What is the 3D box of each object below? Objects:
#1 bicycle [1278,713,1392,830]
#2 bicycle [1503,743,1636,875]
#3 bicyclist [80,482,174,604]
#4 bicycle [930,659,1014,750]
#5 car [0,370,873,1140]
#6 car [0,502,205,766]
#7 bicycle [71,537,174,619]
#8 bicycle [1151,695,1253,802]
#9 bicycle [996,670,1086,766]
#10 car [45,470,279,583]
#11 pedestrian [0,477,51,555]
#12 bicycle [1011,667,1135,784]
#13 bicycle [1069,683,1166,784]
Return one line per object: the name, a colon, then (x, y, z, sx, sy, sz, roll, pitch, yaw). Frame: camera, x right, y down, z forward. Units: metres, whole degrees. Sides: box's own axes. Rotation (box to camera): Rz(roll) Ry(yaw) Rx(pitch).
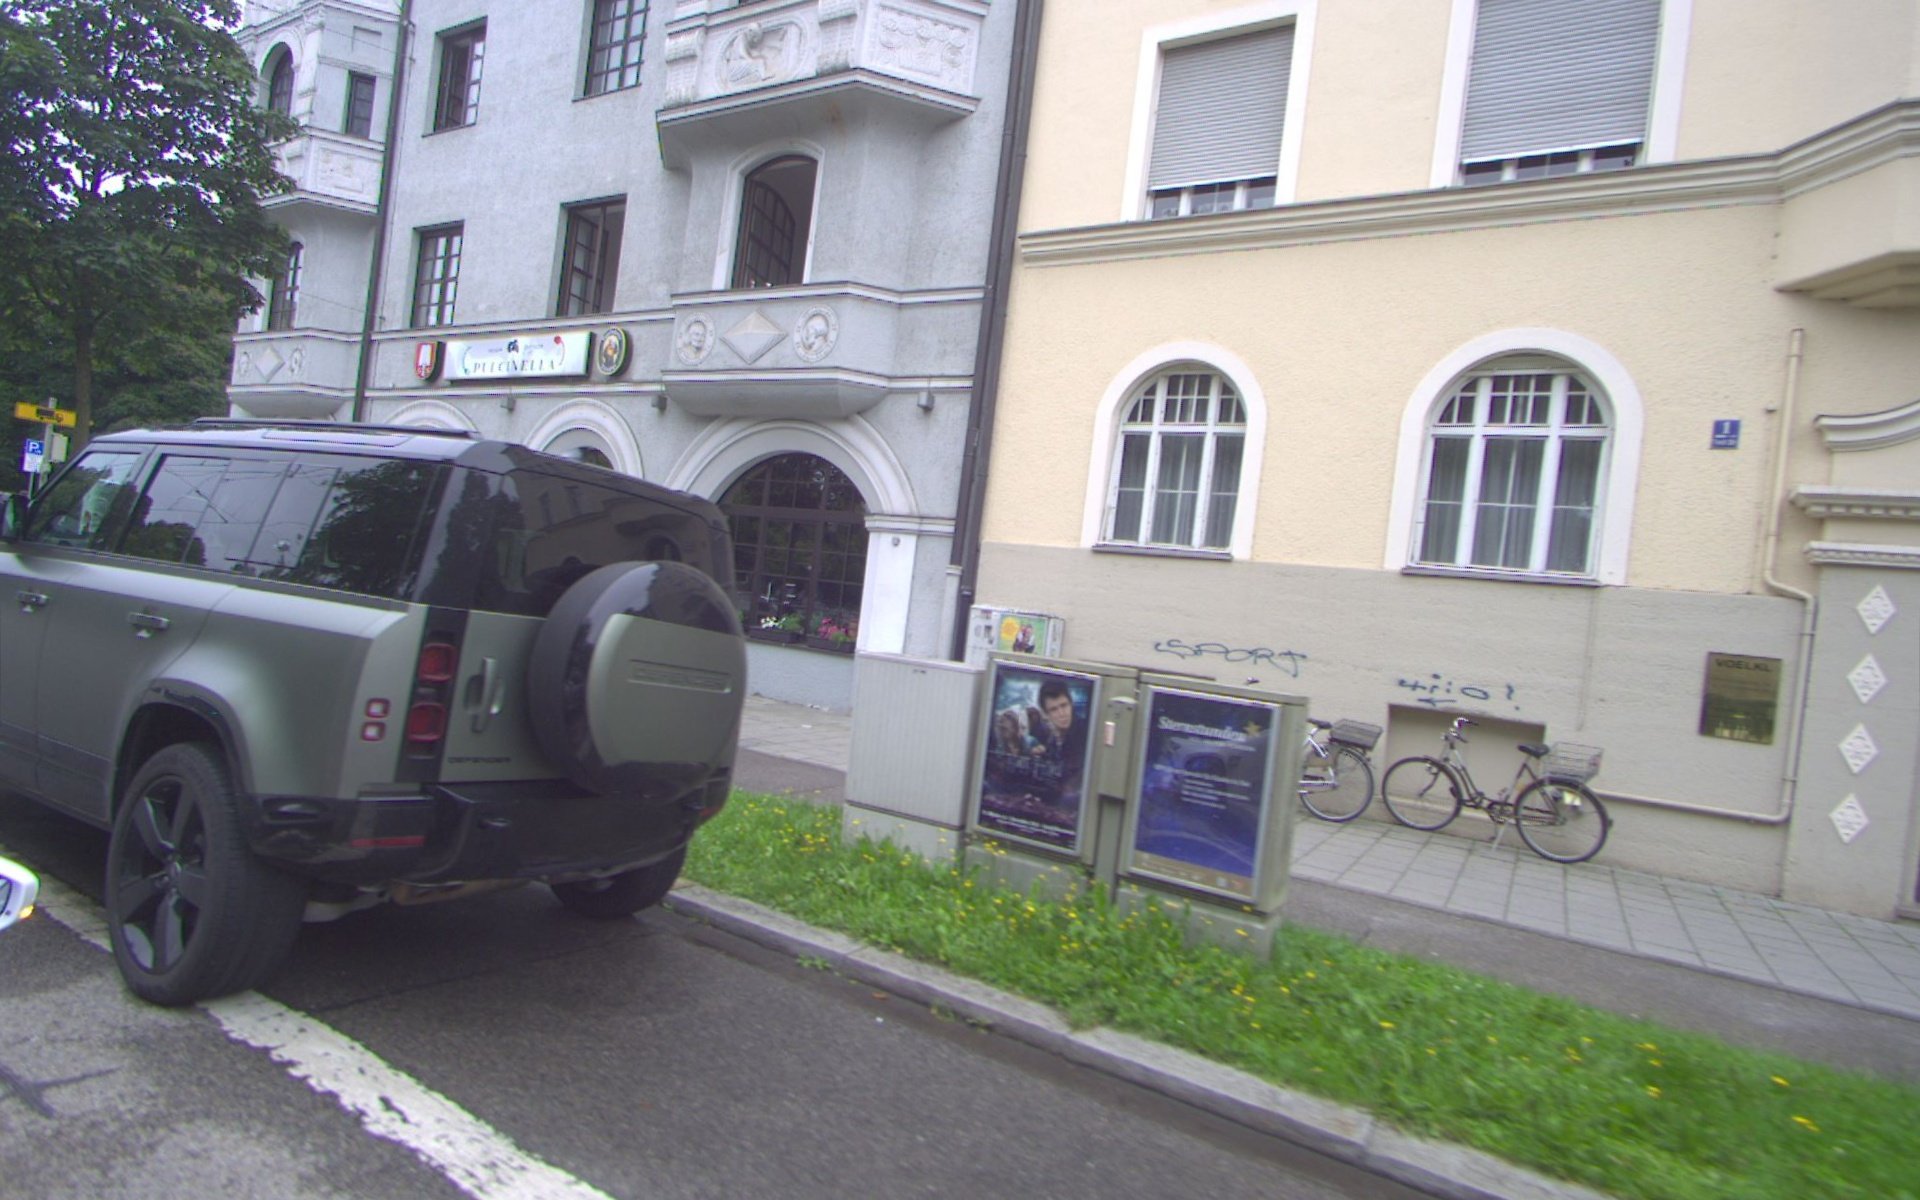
bicycle: (3.548, 1.608, 9.537, 0.871, 0.941, 0.286, 6, -2, 33)
bicycle: (5.182, 1.762, 8.584, 0.871, 0.941, 0.222, 6, -2, 31)
bicyclist: (-12.972, -0.878, 15.673, 0.714, 1.748, 0.726, 6, -2, 31)
bicycle: (0.132, 1.226, 11.842, 0.871, 0.941, 0.259, 6, -2, 33)
car: (-2.986, 0.265, 4.512, 4.726, 1.927, 1.919, 6, -3, 30)
car: (-7.616, 0.042, 7.403, 4.256, 1.609, 1.718, 6, -3, 32)
bicycle: (-13.079, -0.345, 15.692, 1.880, 1.092, 0.579, 6, 1, 31)
bicycle: (2.465, 1.506, 10.278, 0.871, 0.941, 0.273, 6, -2, 33)
bicycle: (0.911, 1.322, 11.358, 0.871, 0.941, 0.291, 6, -2, 33)
car: (-25.803, -2.301, 32.790, 2.192, 2.641, 5.313, 6, -3, 28)
pedestrian: (-26.415, -2.360, 28.312, 0.767, 2.036, 0.832, 6, -2, 31)
bicycle: (1.184, 1.320, 10.690, 1.203, 1.050, 0.242, 6, -2, 32)
bicycle: (1.690, 1.422, 10.832, 0.871, 0.941, 0.306, 6, -2, 33)
